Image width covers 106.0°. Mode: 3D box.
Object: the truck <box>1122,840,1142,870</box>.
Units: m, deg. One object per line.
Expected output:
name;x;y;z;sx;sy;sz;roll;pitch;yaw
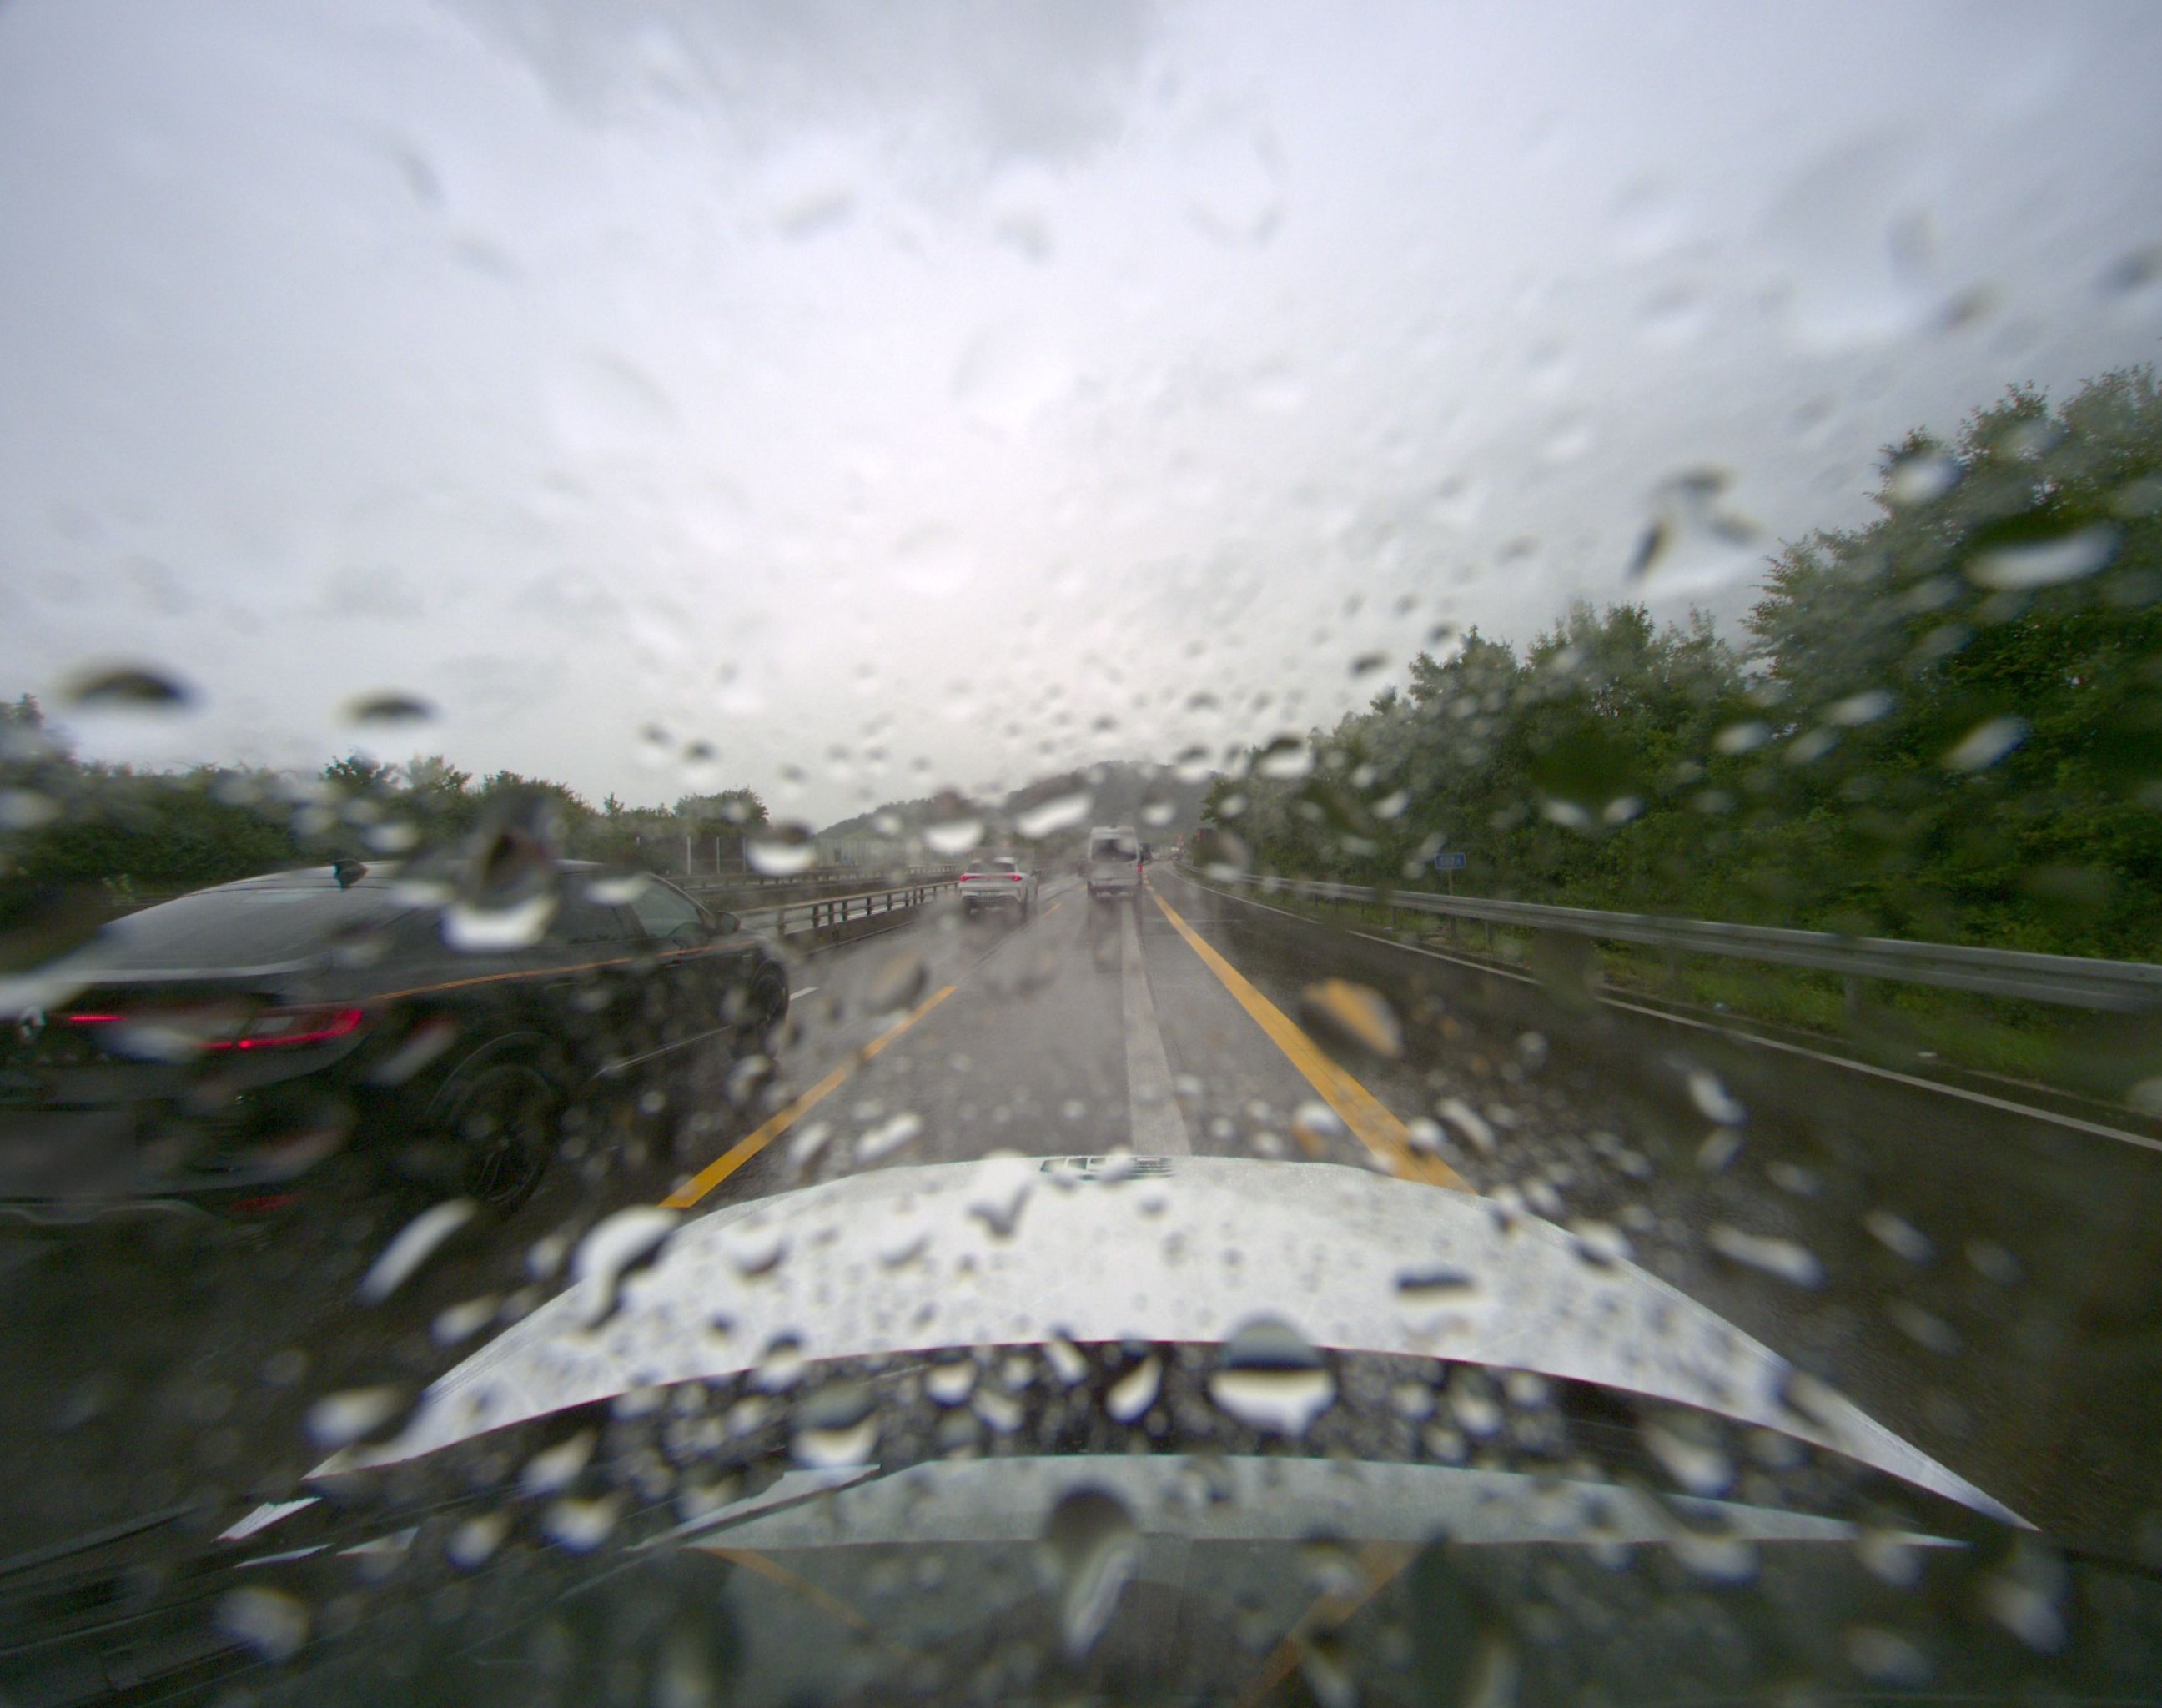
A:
truck;5.575;0.132;88.405;1.984;3.109;8.508;0;-1;5

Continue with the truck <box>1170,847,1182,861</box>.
truck;30.583;-0.104;262.268;2.879;4.406;9.655;0;-1;12

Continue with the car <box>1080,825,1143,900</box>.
car;1.112;0.301;30.605;2.137;2.571;5.391;0;-1;1

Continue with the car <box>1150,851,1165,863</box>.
car;18.267;0.656;194.413;2.881;2.887;6.429;0;-1;10

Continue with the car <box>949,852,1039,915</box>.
car;-2.372;0.791;23.383;1.986;1.617;4.797;0;-1;1

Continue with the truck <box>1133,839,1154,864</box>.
truck;11.413;-0.398;148.163;3.564;4.406;9.637;0;-1;5

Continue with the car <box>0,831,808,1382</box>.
car;-3.323;0.749;4.567;1.986;1.585;4.414;0;-1;1

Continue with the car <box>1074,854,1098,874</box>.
car;0.445;0.820;67.416;1.939;1.561;4.001;0;-1;1

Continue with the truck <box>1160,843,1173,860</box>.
truck;24.138;-0.658;230.416;3.018;4.406;9.648;0;-1;9
